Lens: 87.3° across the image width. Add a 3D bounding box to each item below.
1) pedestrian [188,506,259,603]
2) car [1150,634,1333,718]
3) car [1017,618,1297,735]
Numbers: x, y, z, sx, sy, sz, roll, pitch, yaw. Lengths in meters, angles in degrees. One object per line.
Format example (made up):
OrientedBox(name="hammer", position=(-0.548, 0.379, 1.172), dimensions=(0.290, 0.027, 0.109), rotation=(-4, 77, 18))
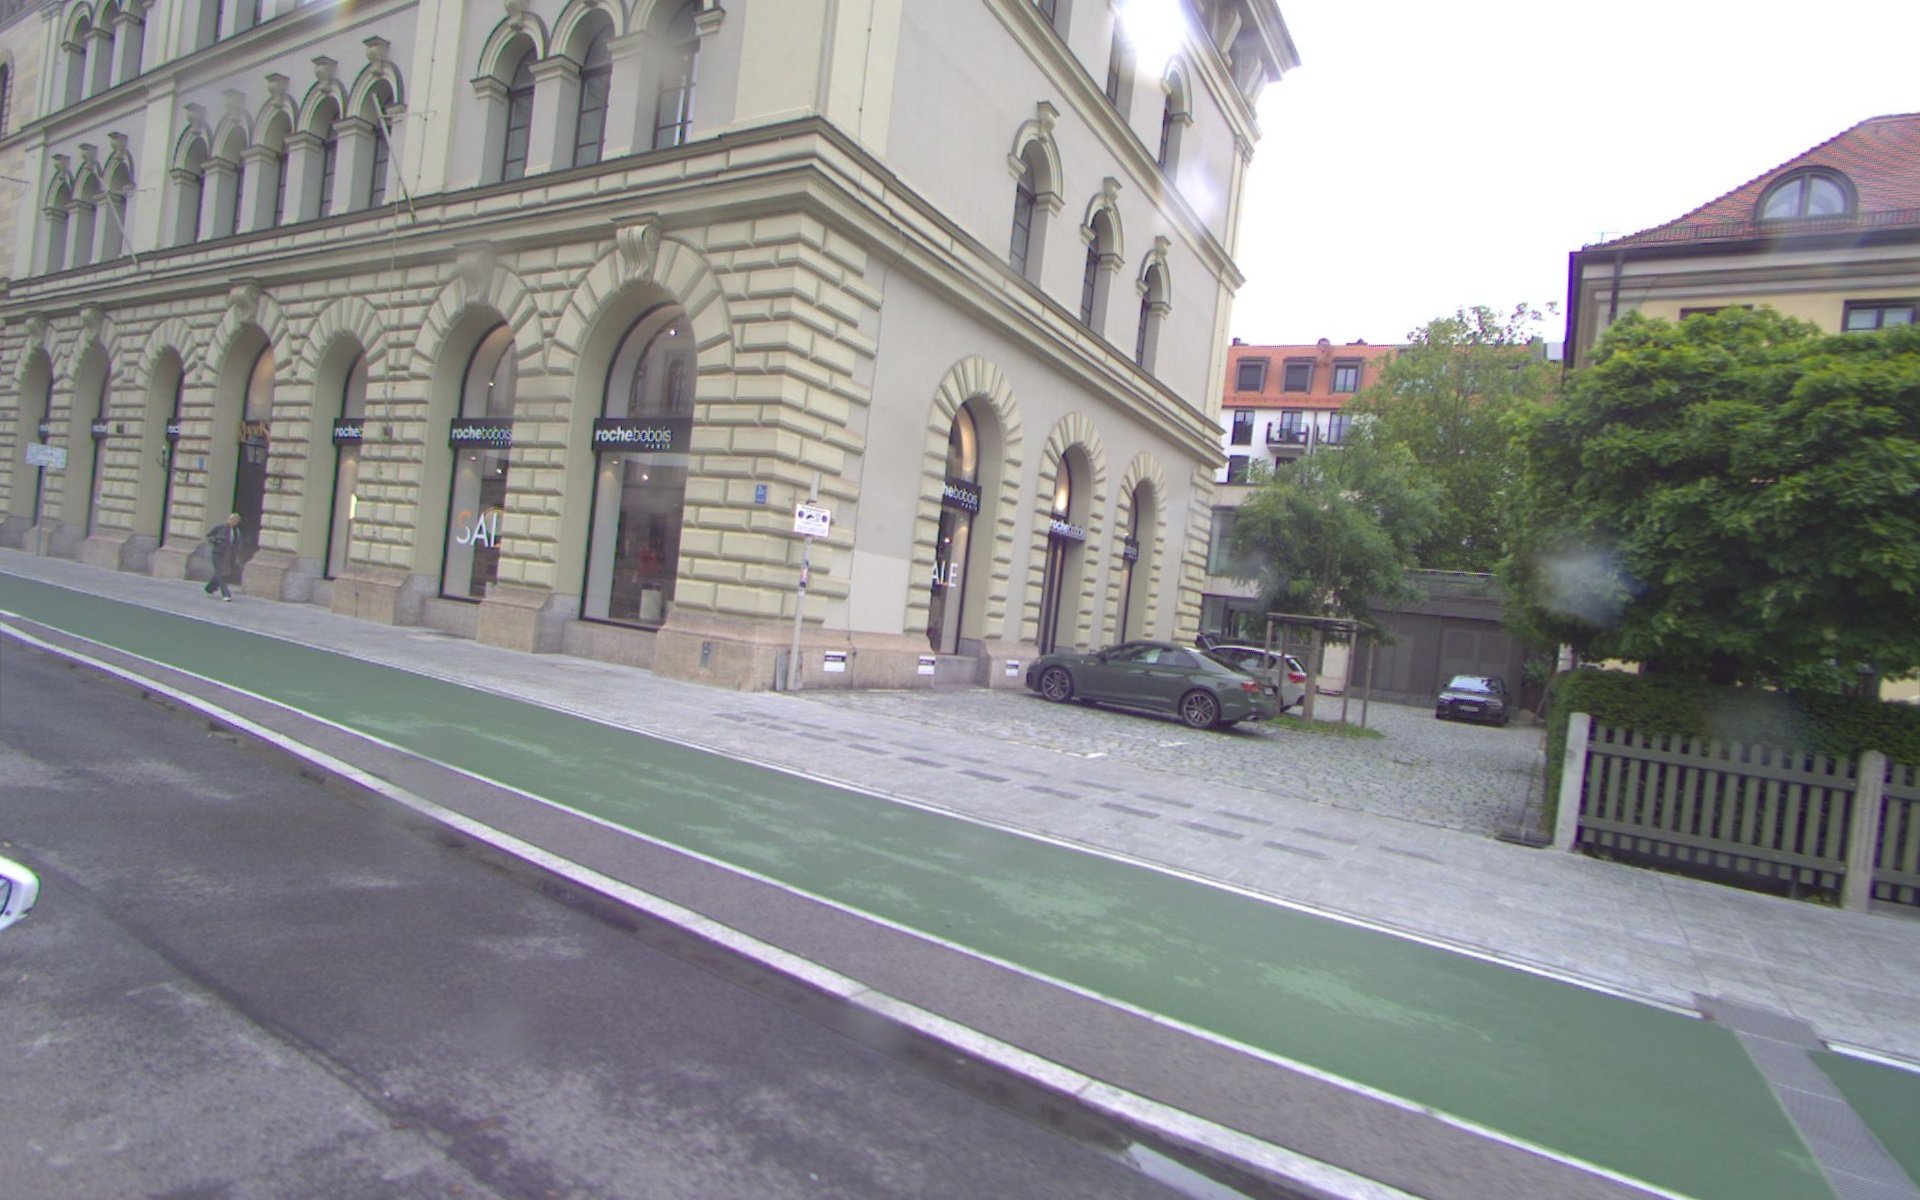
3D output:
OrientedBox(name="pedestrian", position=(-14.230, -0.882, 19.434), dimensions=(1.067, 1.726, 0.633), rotation=(7, 1, 31))
OrientedBox(name="car", position=(6.741, 1.789, 24.192), dimensions=(3.812, 1.443, 1.693), rotation=(7, 0, 31))
OrientedBox(name="car", position=(3.551, 1.345, 18.408), dimensions=(4.553, 1.443, 1.860), rotation=(7, -1, 31))
